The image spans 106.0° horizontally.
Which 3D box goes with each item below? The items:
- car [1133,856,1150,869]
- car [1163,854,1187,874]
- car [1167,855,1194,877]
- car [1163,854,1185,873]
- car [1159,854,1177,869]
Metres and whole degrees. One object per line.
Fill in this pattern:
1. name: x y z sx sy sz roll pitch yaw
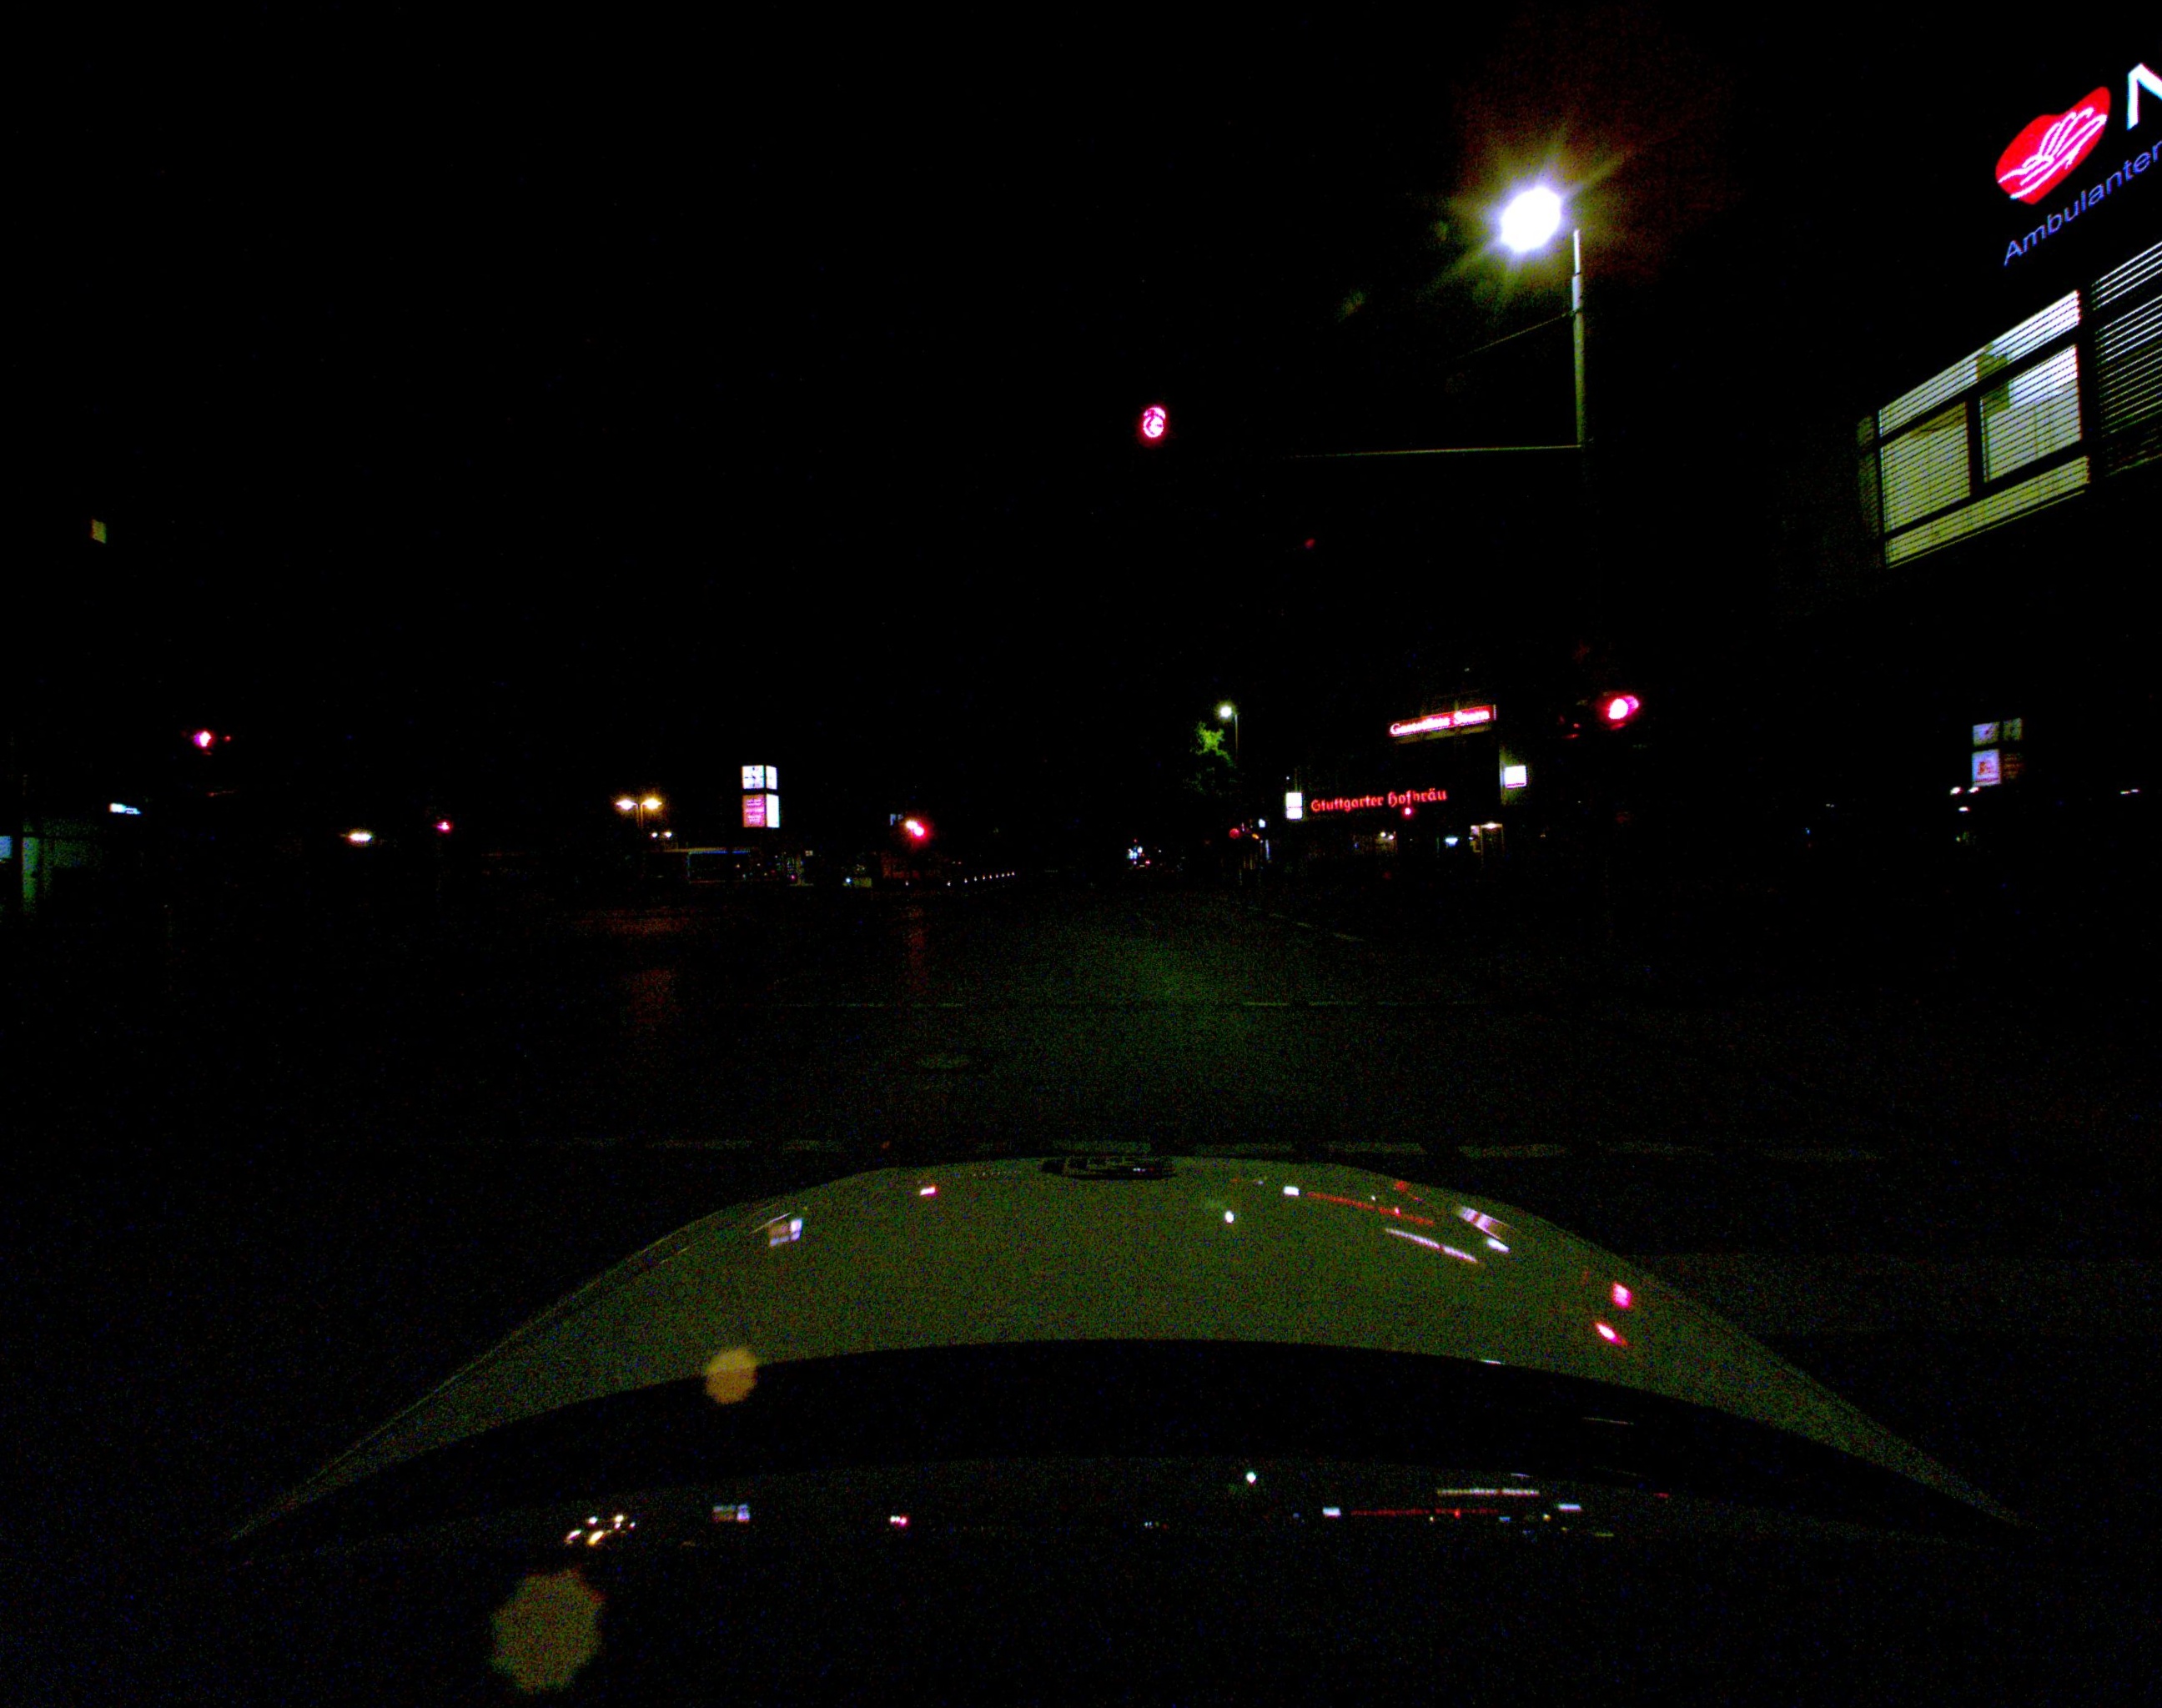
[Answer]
1. car: 6.698 0.962 90.391 1.865 1.454 4.321 0 -1 4
2. car: 7.883 0.830 68.769 1.868 1.615 4.005 -2 -1 5
3. car: 7.706 0.903 63.526 1.868 1.615 4.005 -2 -1 5
4. car: 8.678 0.876 76.426 1.868 1.729 4.005 -2 -1 5
5. car: 10.050 0.886 94.433 1.868 1.683 4.005 -2 -1 5
